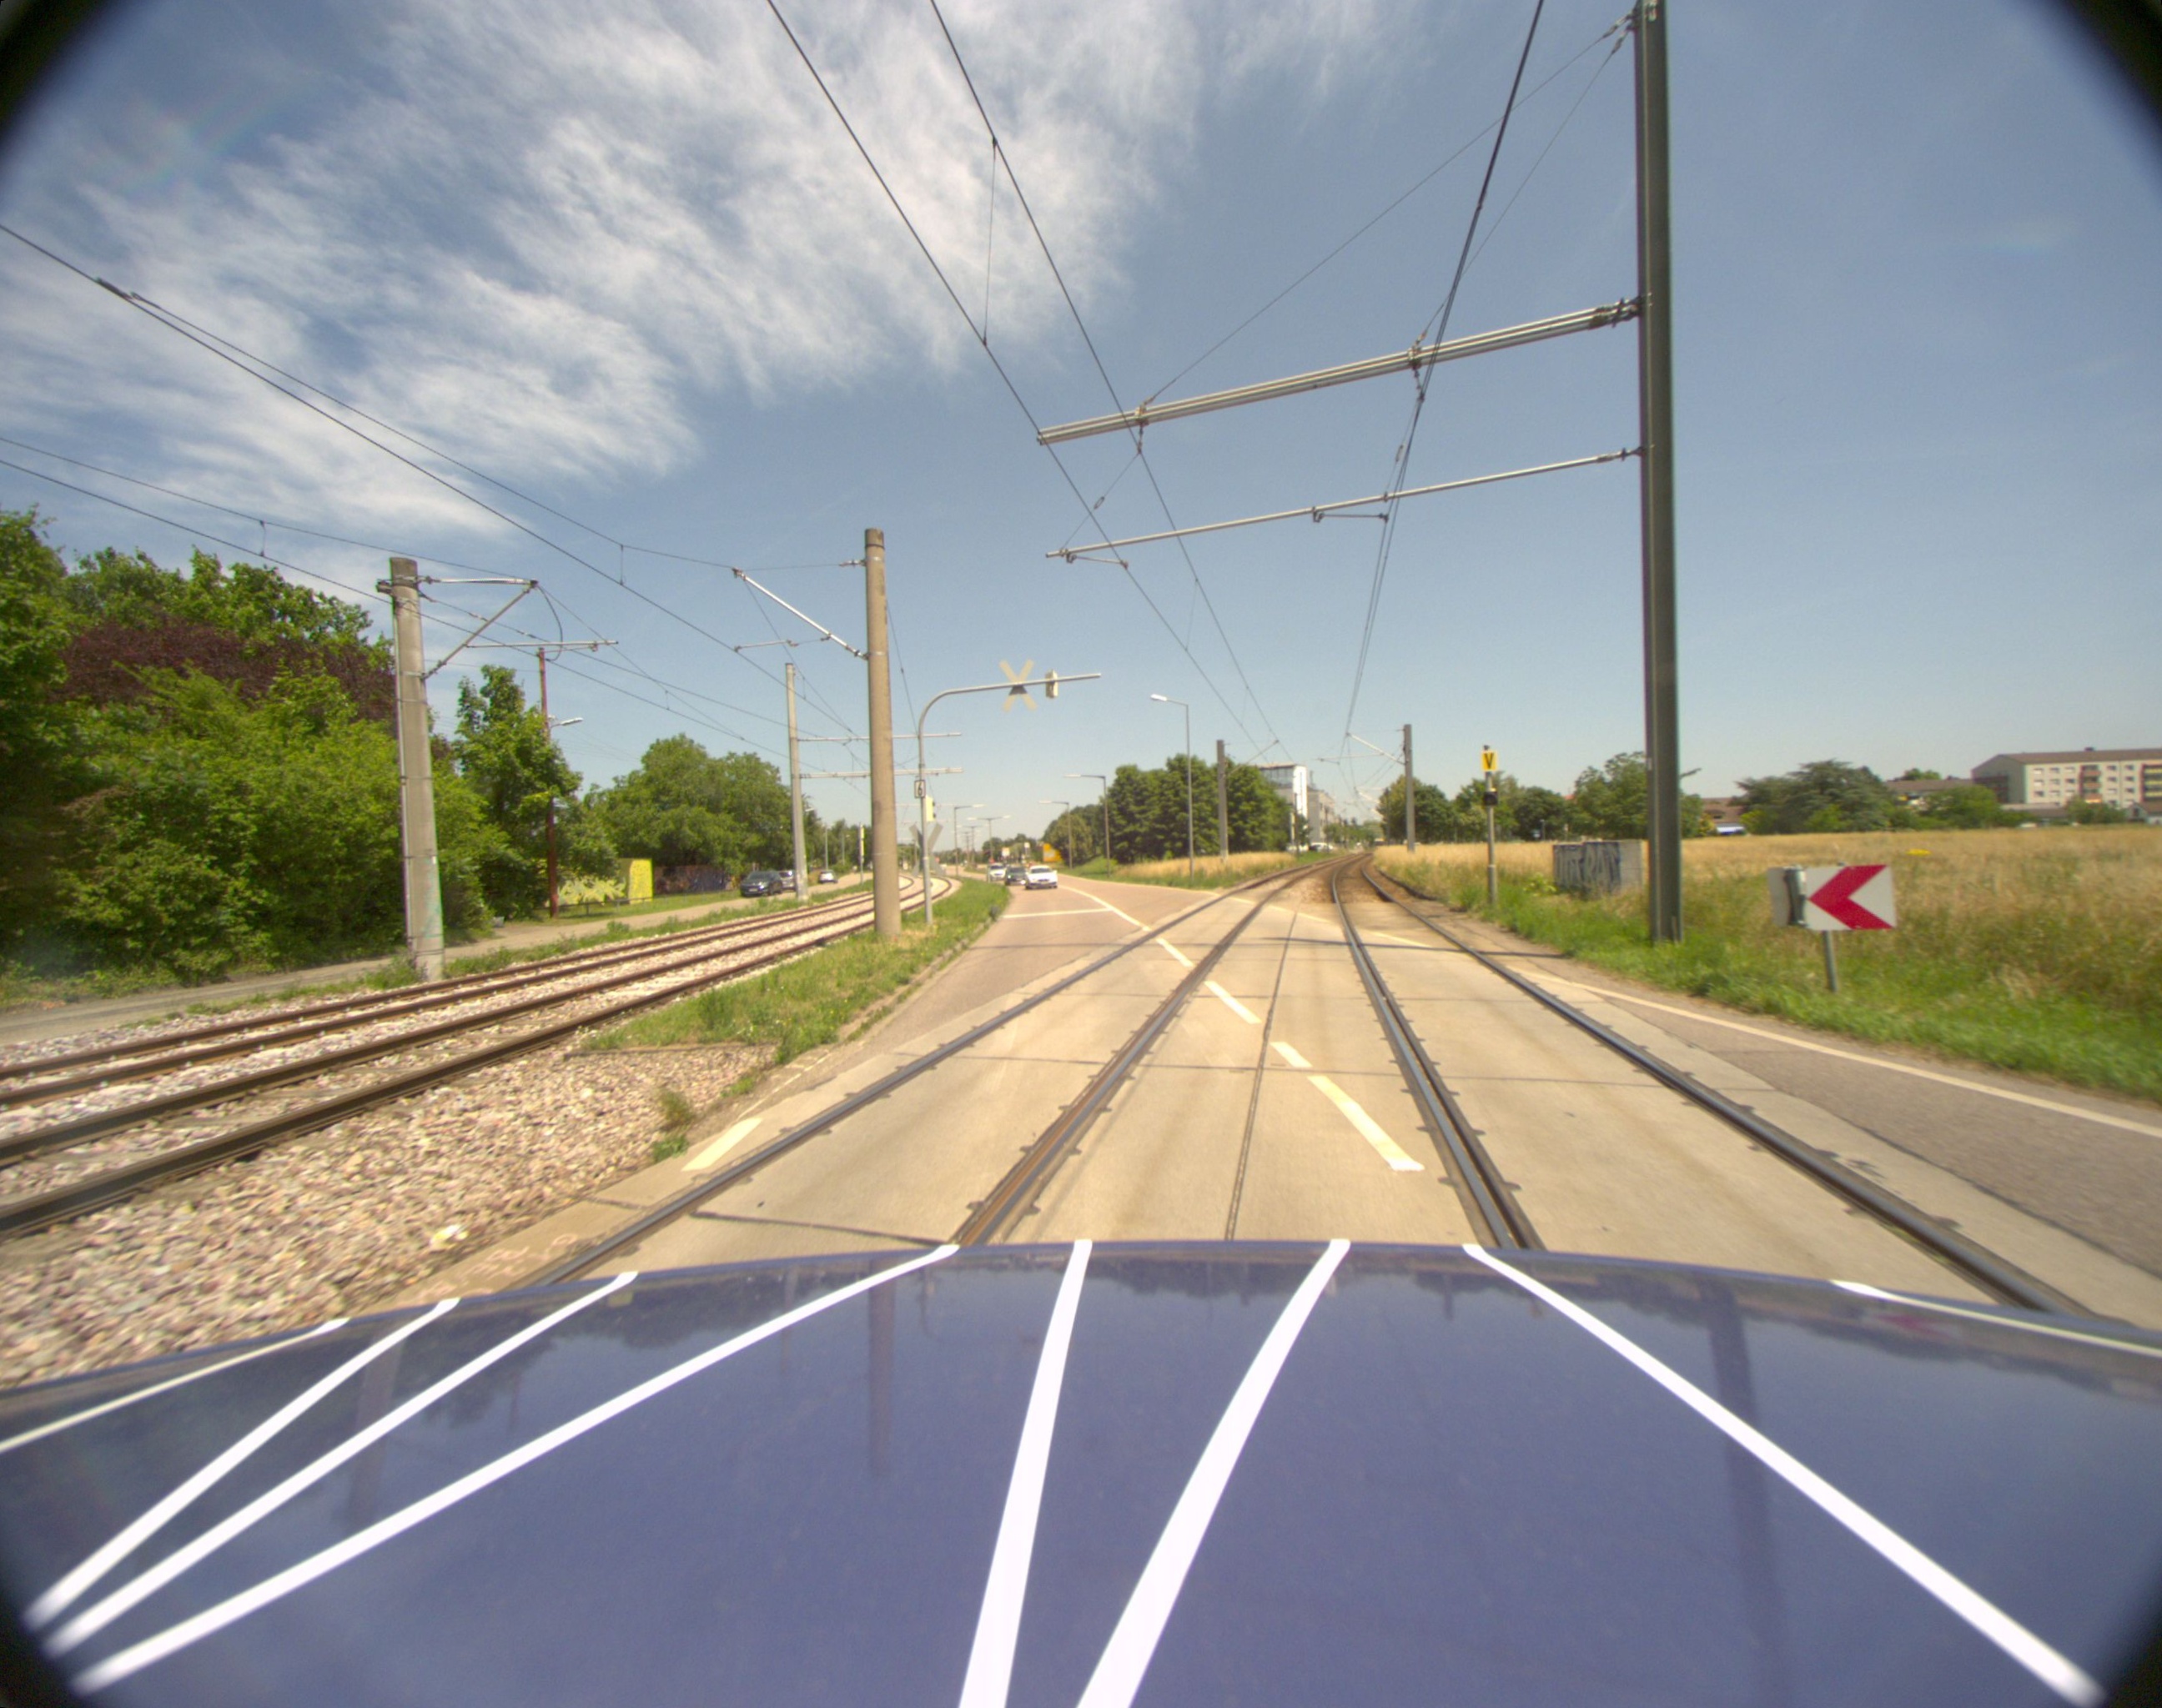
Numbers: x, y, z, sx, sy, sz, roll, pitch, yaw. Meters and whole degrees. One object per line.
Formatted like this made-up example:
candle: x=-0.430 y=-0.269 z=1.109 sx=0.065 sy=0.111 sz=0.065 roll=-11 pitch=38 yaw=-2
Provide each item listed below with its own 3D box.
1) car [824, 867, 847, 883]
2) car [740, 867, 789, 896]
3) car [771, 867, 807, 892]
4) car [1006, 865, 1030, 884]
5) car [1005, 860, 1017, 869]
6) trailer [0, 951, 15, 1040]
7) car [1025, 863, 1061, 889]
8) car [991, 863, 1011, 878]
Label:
car: x=-25.593 y=2.149 z=79.242 sx=1.686 sy=1.406 sz=4.545 roll=-2 pitch=1 yaw=-11
car: x=-20.759 y=1.744 z=50.033 sx=1.834 sy=1.647 sz=4.811 roll=-2 pitch=1 yaw=-9
car: x=-21.522 y=1.861 z=56.141 sx=1.682 sy=1.615 sz=4.705 roll=-2 pitch=1 yaw=-12
car: x=-5.170 y=1.646 z=62.298 sx=1.511 sy=1.423 sz=3.354 roll=-2 pitch=1 yaw=-12
car: x=-12.998 y=1.890 z=141.294 sx=1.833 sy=1.592 sz=4.481 roll=-2 pitch=-1 yaw=-9
trailer: x=-15.726 y=2.009 z=8.628 sx=1.465 sy=1.215 sz=4.000 roll=-2 pitch=1 yaw=3
car: x=-2.442 y=1.363 z=48.064 sx=1.773 sy=1.434 sz=4.125 roll=-2 pitch=1 yaw=-10
car: x=-8.977 y=1.827 z=85.257 sx=1.811 sy=1.465 sz=3.507 roll=-2 pitch=1 yaw=-13
